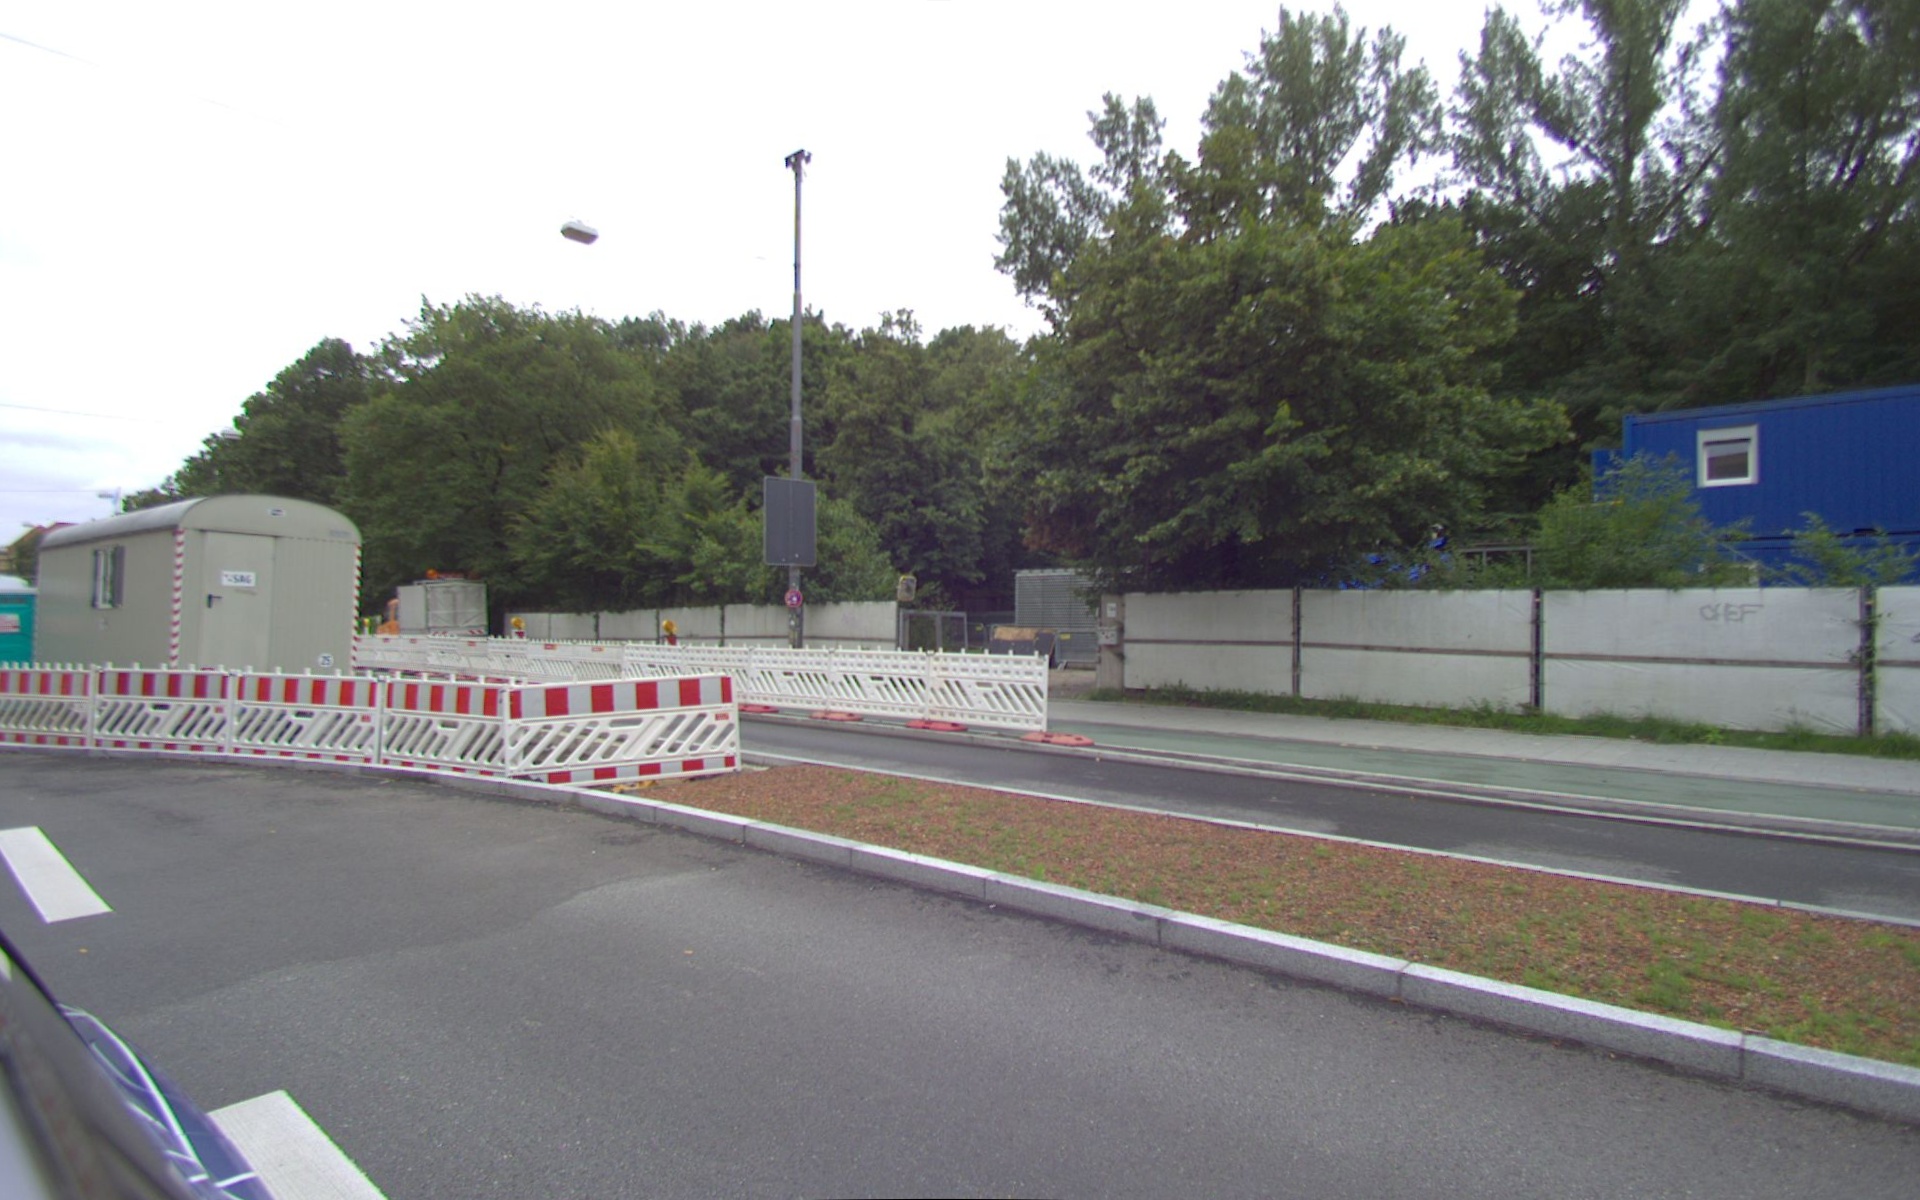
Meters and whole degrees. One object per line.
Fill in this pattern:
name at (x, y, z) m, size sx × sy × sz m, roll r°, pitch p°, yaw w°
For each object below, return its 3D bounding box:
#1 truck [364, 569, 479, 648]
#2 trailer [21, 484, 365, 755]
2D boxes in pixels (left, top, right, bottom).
truck at (-20.091, 0.373, 37.649) m, size 5.869 × 2.749 × 1.972 m, roll -2°, pitch -2°, yaw 43°
trailer at (-11.889, 0.327, 15.390) m, size 7.506 × 3.268 × 2.206 m, roll -1°, pitch -2°, yaw 37°
